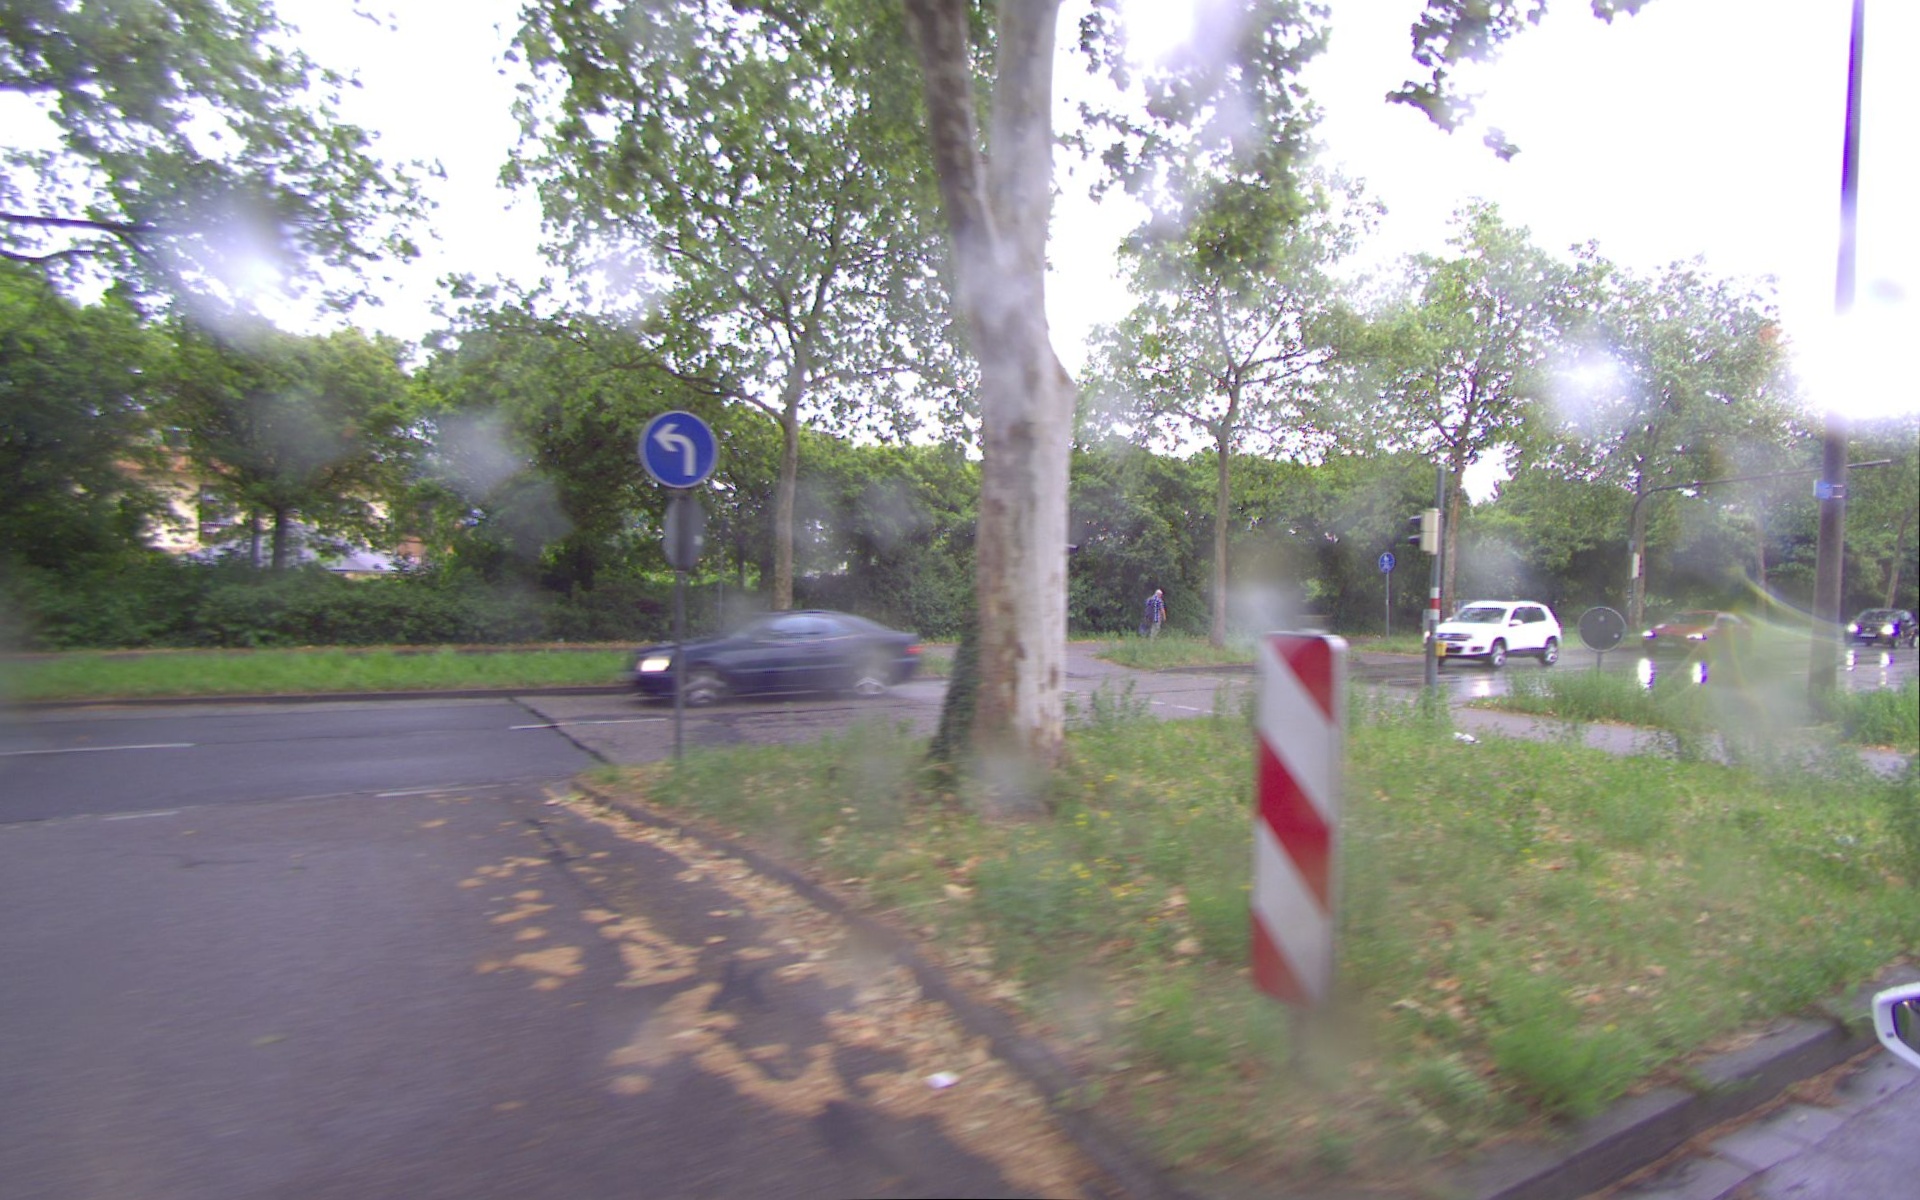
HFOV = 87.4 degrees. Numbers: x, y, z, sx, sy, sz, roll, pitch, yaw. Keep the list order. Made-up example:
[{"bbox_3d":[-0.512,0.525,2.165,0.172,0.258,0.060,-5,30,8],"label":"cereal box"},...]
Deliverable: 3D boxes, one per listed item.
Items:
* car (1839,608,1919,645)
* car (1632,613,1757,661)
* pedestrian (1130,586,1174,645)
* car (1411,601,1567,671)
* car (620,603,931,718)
[{"bbox_3d":[37.586,1.081,41.066,3.297,1.391,1.578,1,1,-32],"label":"car"},{"bbox_3d":[24.011,1.190,32.795,4.394,1.427,1.734,1,1,-32],"label":"car"},{"bbox_3d":[5.602,0.442,29.302,0.889,1.696,0.826,1,1,-32],"label":"pedestrian"},{"bbox_3d":[14.038,0.924,26.573,4.397,1.653,1.733,1,1,-33],"label":"car"},{"bbox_3d":[-2.770,0.821,15.409,4.394,1.458,1.734,-1,2,-32],"label":"car"}]
